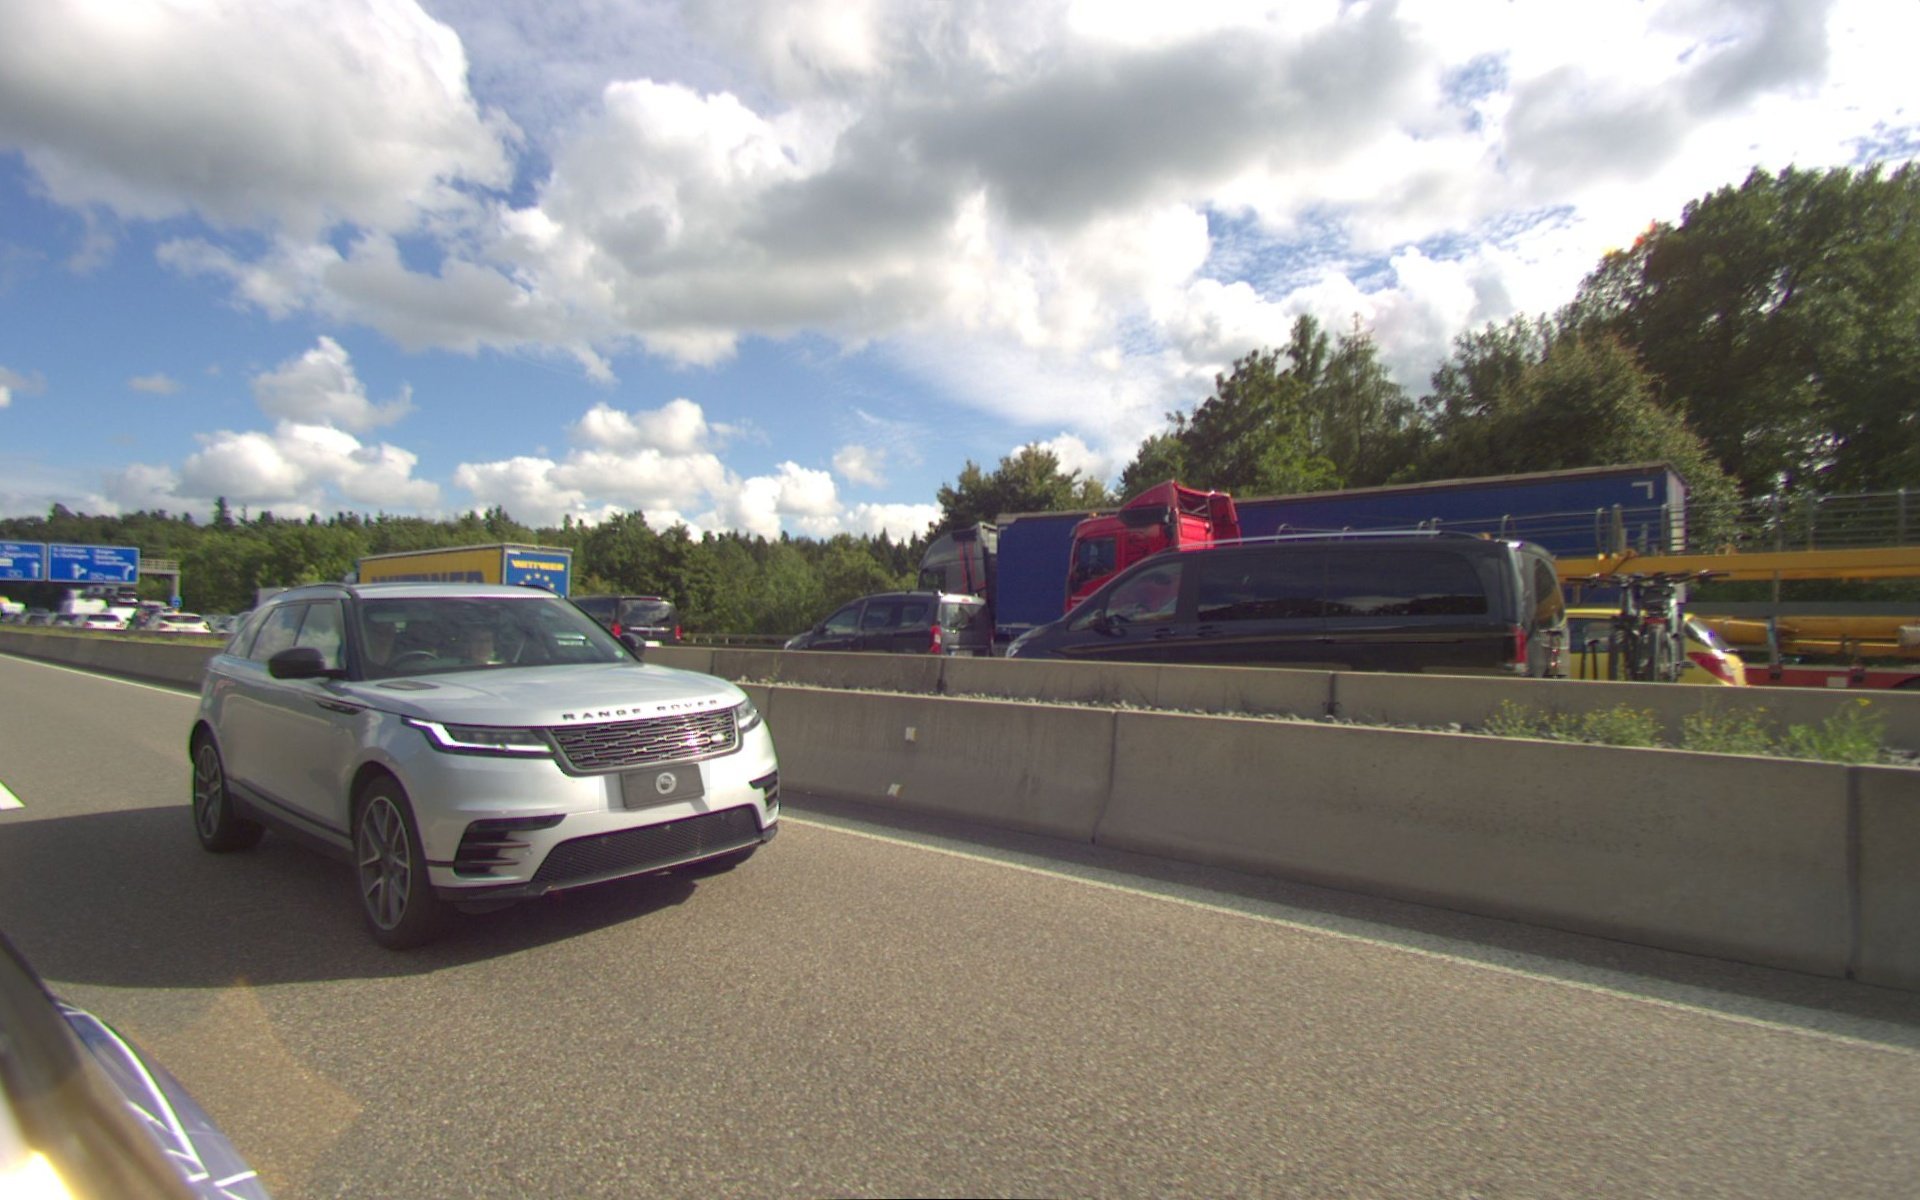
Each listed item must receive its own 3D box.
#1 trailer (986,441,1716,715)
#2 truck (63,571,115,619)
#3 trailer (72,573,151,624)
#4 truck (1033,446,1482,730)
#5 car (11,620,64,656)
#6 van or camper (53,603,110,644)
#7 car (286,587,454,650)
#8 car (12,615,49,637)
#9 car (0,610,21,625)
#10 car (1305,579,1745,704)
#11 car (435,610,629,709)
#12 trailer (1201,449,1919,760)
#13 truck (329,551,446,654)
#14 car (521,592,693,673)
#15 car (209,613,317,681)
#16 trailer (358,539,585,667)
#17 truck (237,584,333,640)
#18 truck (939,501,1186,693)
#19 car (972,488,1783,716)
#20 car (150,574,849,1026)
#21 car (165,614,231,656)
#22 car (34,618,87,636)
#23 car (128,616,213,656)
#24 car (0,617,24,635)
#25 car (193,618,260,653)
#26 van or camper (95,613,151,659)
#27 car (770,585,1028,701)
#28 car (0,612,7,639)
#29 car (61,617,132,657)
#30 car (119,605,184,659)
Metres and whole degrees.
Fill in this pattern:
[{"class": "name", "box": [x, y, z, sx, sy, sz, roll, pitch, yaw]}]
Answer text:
[{"class": "trailer", "box": [6.826, -0.229, 21.056, 14.036, 4.150, 2.780, -1, 0, 42]}, {"class": "truck", "box": [-79.683, -0.441, 92.530, 5.711, 4.266, 2.823, -1, 0, 42]}, {"class": "trailer", "box": [-72.515, -0.189, 86.266, 15.999, 4.004, 2.801, 1, 1, 41]}, {"class": "truck", "box": [4.854, -0.120, 17.404, 6.848, 3.968, 2.747, -1, -1, 40]}, {"class": "car", "box": [-57.368, 2.324, 62.902, 4.408, 2.029, 1.972, 1, 0, 42]}, {"class": "van or camper", "box": [-64.268, 1.664, 73.997, 6.631, 2.731, 2.365, 1, 1, 42]}, {"class": "car", "box": [-14.403, 0.374, 24.558, 5.485, 1.364, 1.831, 1, 1, 41]}, {"class": "car", "box": [-82.216, 2.307, 89.498, 4.695, 1.890, 1.891, -1, -1, 41]}, {"class": "car", "box": [-125.961, 2.330, 134.172, 3.949, 1.890, 1.781, -1, -1, 41]}, {"class": "car", "box": [6.062, 0.398, 11.125, 3.997, 1.135, 1.569, -1, 0, 40]}, {"class": "car", "box": [-8.026, 1.023, 18.839, 3.997, 1.615, 1.706, -1, 0, 40]}, {"class": "trailer", "box": [10.208, 0.067, 12.815, 14.209, 3.361, 2.700, -2, -1, 40]}, {"class": "truck", "box": [-25.117, 0.071, 44.309, 5.613, 4.179, 2.708, 1, 1, 40]}, {"class": "car", "box": [-8.685, 0.764, 24.664, 4.839, 1.780, 1.727, -1, 0, 40]}, {"class": "car", "box": [-21.207, 1.364, 30.728, 4.293, 1.829, 1.669, 1, 1, 41]}, {"class": "trailer", "box": [-19.355, 0.035, 39.309, 13.651, 4.266, 2.743, 1, 1, 41]}, {"class": "truck", "box": [-36.818, 0.634, 55.046, 7.945, 2.822, 2.304, -1, 1, 41]}, {"class": "truck", "box": [2.436, -0.004, 24.952, 5.449, 4.181, 2.783, -1, -2, 40]}, {"class": "car", "box": [3.076, 0.044, 8.746, 6.228, 1.359, 1.796, -1, 0, 40]}, {"class": "car", "box": [-3.076, 0.690, 6.025, 5.103, 1.619, 1.880, 1, 1, 41]}, {"class": "car", "box": [-36.797, 1.643, 48.836, 4.293, 1.829, 1.669, 1, 1, 41]}, {"class": "car", "box": [-49.186, 1.477, 55.319, 4.603, 0.864, 1.618, -1, 1, 41]}, {"class": "car", "box": [-29.833, 1.332, 38.205, 3.997, 1.387, 1.739, -1, 0, 40]}, {"class": "car", "box": [-101.721, 2.762, 108.429, 3.949, 1.890, 1.781, -1, -1, 41]}, {"class": "car", "box": [-33.939, 1.615, 46.778, 3.835, 1.411, 1.715, 1, 1, 41]}, {"class": "van or camper", "box": [-54.724, 2.303, 66.129, 5.749, 2.731, 2.024, 1, 1, 42]}, {"class": "car", "box": [-1.177, 0.694, 17.832, 4.610, 1.780, 1.727, -1, 0, 40]}, {"class": "car", "box": [-80.538, 2.094, 83.800, 5.277, 2.115, 1.972, 1, 1, 42]}, {"class": "car", "box": [-41.645, 1.754, 48.805, 4.293, 1.756, 1.973, -1, 1, 41]}, {"class": "car", "box": [-47.706, 1.841, 59.679, 5.400, 2.985, 1.973, -1, 1, 41]}]
